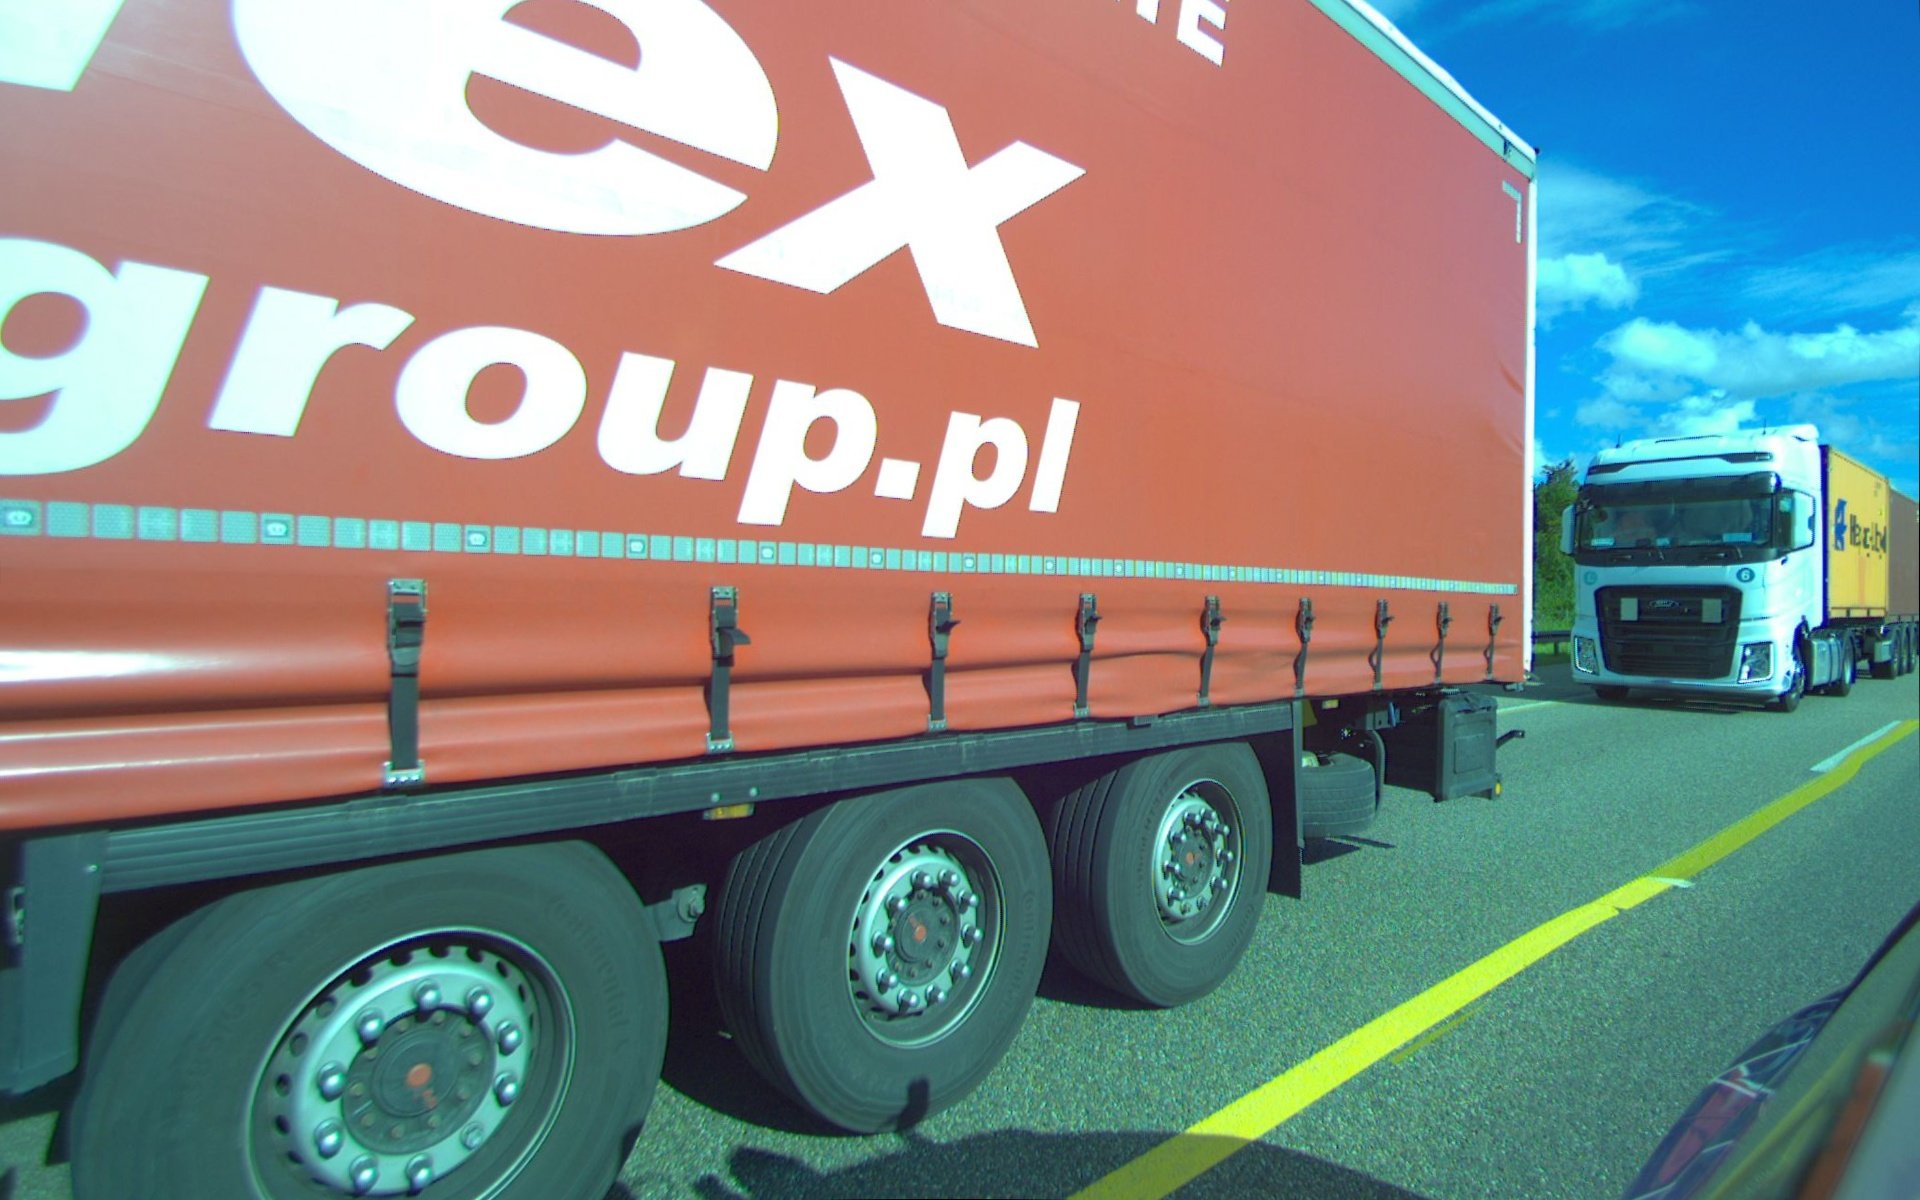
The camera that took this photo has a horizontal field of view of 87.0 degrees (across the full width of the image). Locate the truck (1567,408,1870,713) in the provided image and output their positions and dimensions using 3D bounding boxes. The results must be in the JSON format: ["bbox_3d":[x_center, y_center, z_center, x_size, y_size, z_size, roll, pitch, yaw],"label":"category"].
[{"bbox_3d":[11.752,-0.515,15.509,5.687,3.828,2.500,0,0,-40],"label":"truck"}]

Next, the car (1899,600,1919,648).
[{"bbox_3d":[29.741,0.723,30.281,4.398,1.367,1.932,1,0,-41],"label":"car"}]

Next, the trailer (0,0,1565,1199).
[{"bbox_3d":[-2.483,-0.512,2.210,13.185,4.019,2.704,0,0,-42],"label":"trailer"}]

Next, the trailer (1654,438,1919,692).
[{"bbox_3d":[17.094,-0.543,20.088,11.921,3.823,2.476,0,0,-41],"label":"trailer"}]
